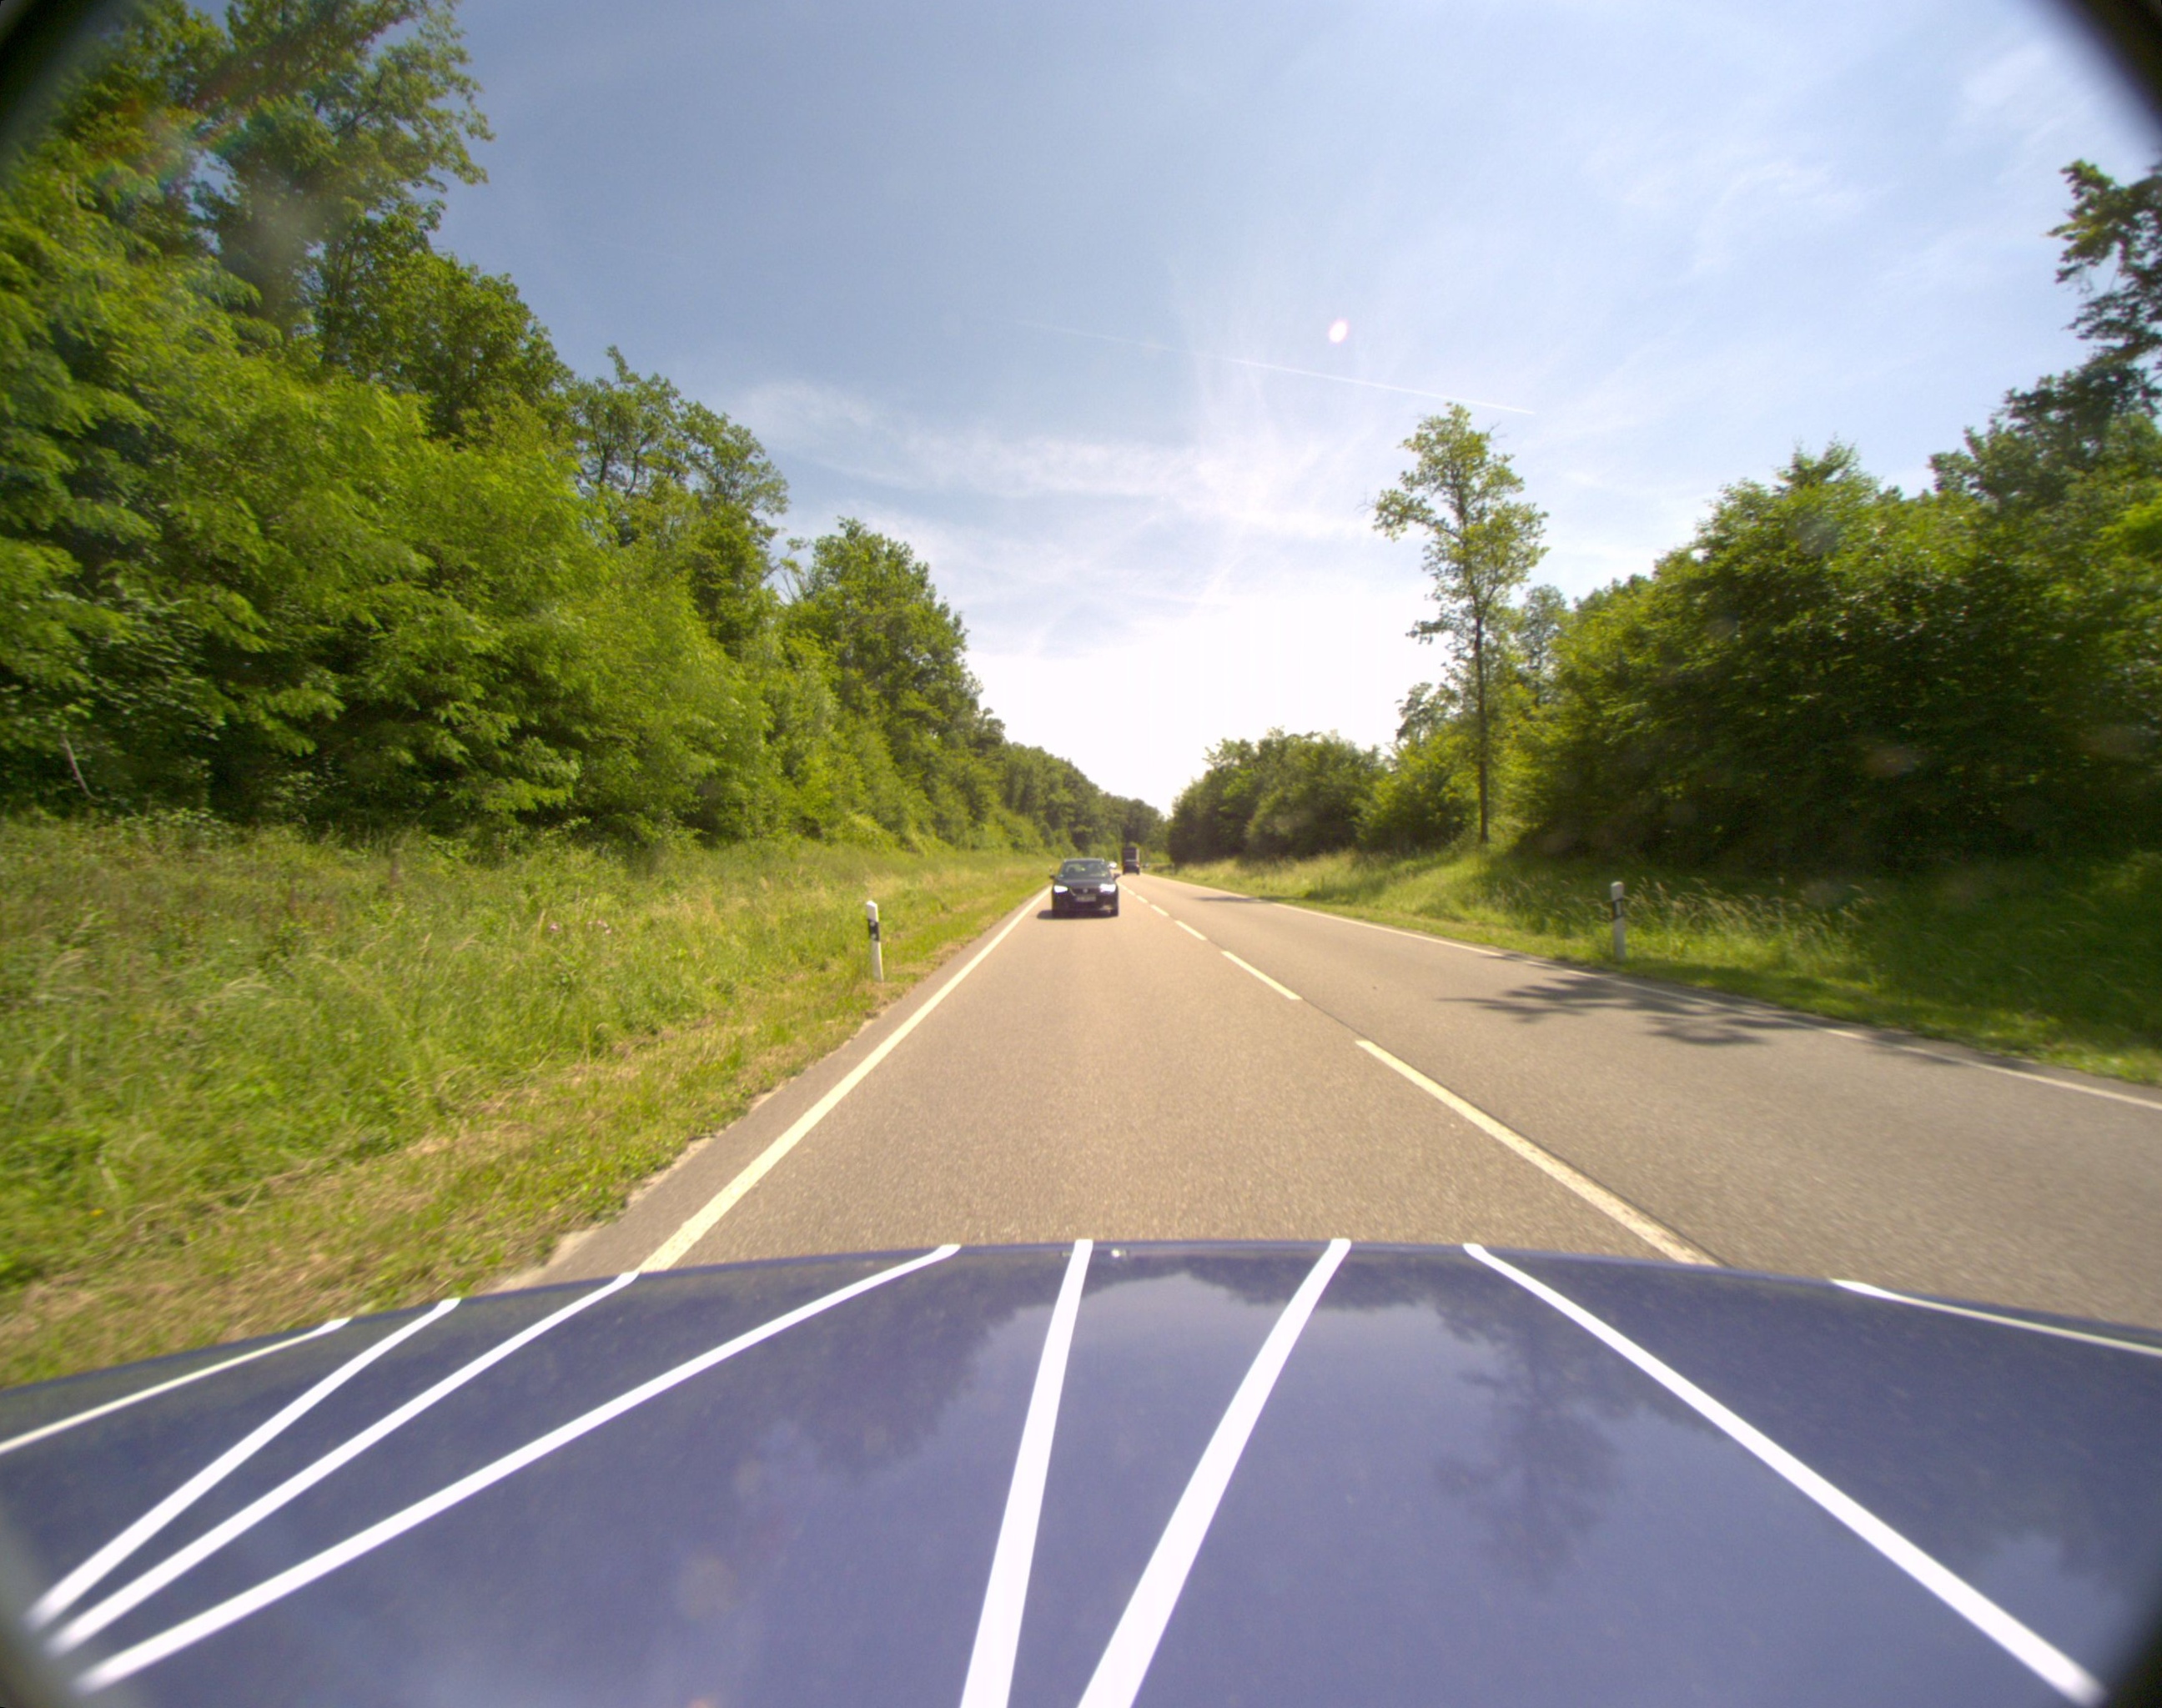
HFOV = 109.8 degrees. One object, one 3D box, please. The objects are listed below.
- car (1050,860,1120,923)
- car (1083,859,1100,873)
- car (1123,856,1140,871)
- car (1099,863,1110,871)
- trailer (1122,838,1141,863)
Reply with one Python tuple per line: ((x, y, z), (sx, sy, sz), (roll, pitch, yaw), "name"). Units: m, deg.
((0.136, 0.947, 21.136), (1.713, 1.516, 4.242), (-1, 0, 1), "car")
((1.102, 1.245, 82.326), (1.776, 1.454, 3.949), (0, 0, 1), "car")
((5.113, 0.959, 77.058), (1.664, 1.486, 3.806), (-1, 0, 3), "car")
((3.982, 2.164, 127.028), (1.776, 1.454, 4.001), (0, 0, 2), "car")
((9.084, -0.626, 138.563), (2.949, 4.228, 13.621), (-1, 0, 2), "trailer")
